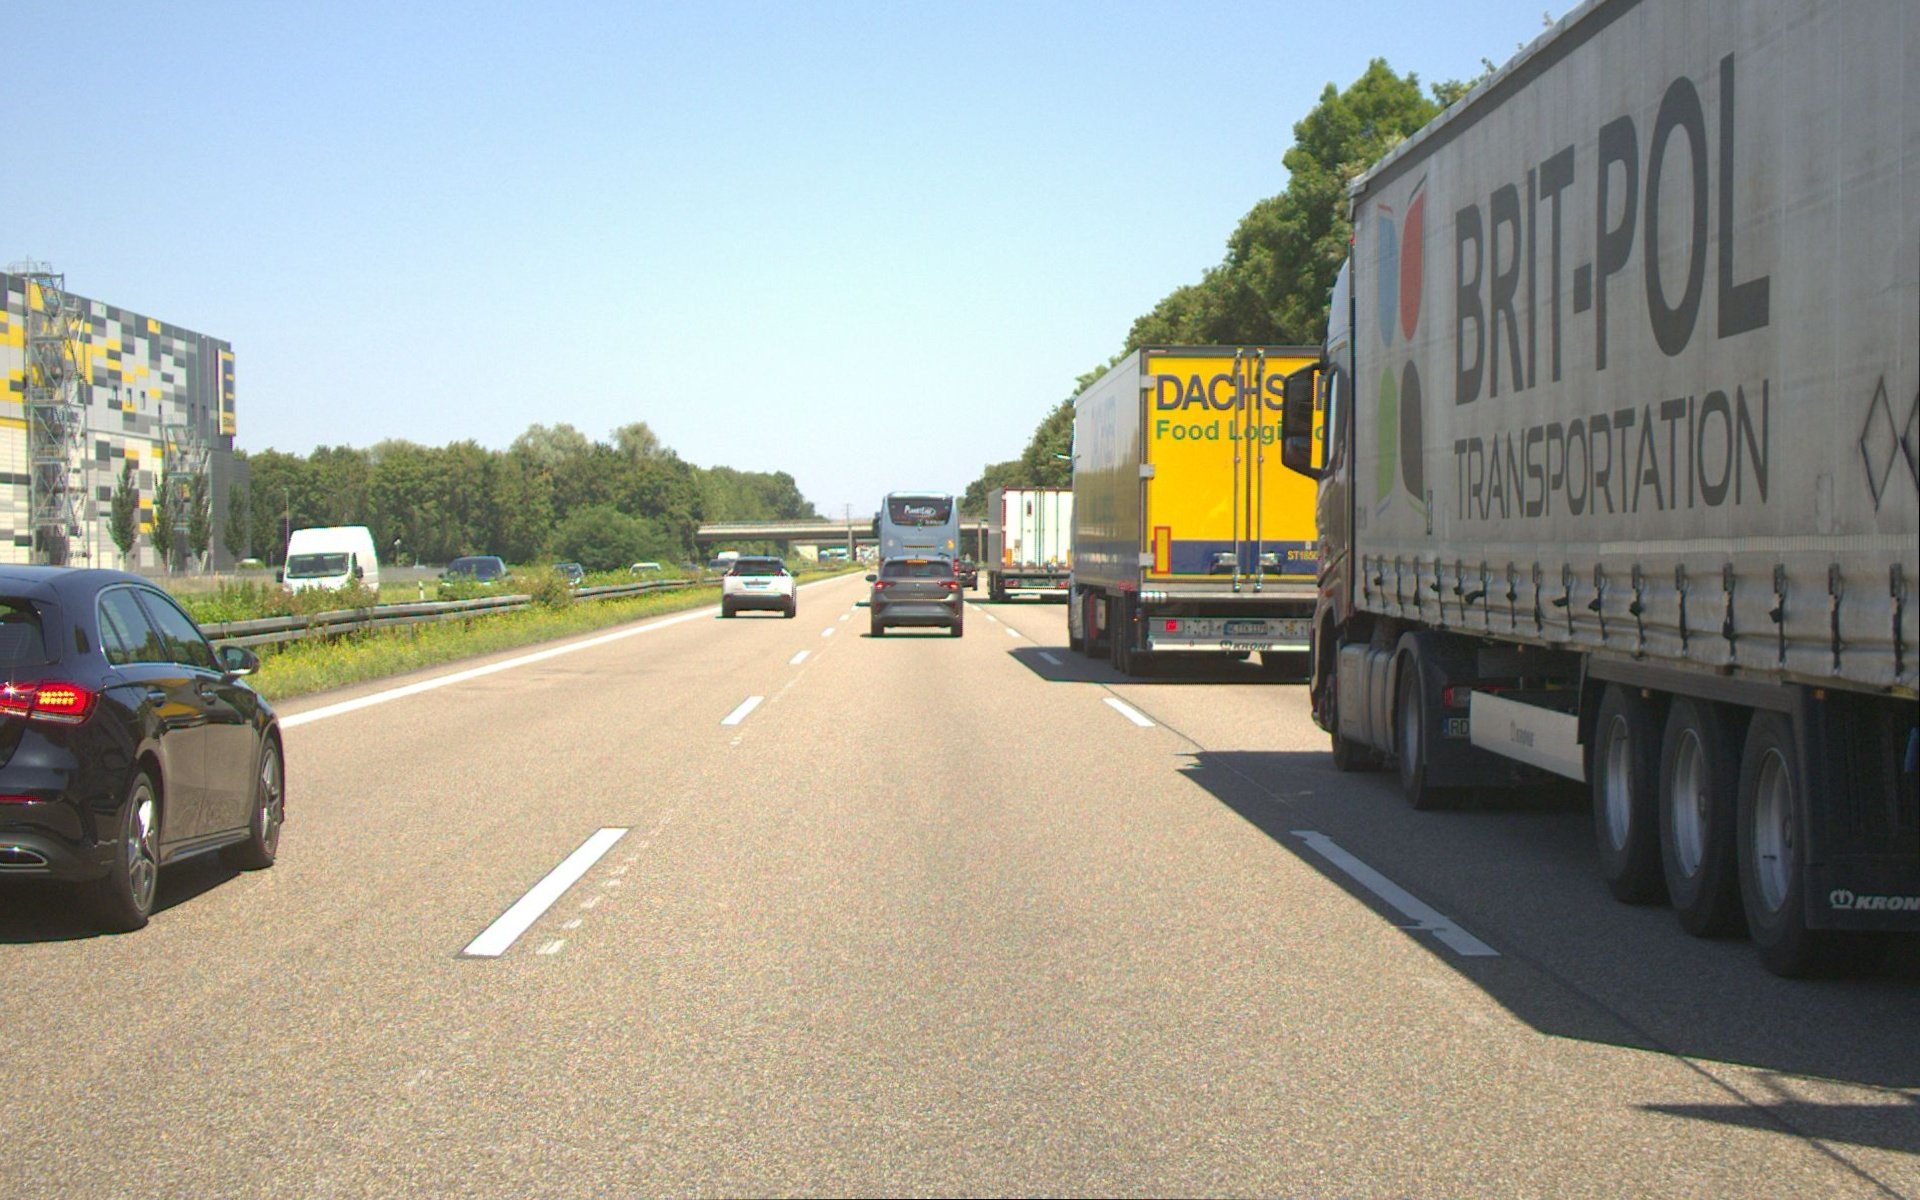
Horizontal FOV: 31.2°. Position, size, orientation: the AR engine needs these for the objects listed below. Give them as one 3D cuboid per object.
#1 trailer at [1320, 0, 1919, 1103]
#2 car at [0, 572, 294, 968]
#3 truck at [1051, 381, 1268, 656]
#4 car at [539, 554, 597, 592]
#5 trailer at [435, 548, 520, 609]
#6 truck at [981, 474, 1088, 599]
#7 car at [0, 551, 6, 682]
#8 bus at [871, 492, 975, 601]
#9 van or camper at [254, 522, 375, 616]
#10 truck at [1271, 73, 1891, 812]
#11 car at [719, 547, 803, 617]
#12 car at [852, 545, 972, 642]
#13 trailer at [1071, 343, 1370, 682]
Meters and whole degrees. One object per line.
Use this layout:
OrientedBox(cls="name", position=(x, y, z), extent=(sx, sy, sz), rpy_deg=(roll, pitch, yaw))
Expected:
OrientedBox(cls="trailer", position=(4.148, -0.900, 16.179), extent=(3.106, 4.491, 14.897), rpy_deg=(0, 1, -1))
OrientedBox(cls="car", position=(-4.069, 0.602, 14.539), extent=(1.792, 1.407, 4.053), rpy_deg=(0, 1, -1))
OrientedBox(cls="truck", position=(3.005, -1.238, 53.530), extent=(2.813, 3.993, 6.645), rpy_deg=(0, 1, -1))
OrientedBox(cls="car", position=(-20.032, -1.395, 175.893), extent=(2.316, 1.809, 5.351), rpy_deg=(-1, 1, 0))
OrientedBox(cls="trailer", position=(-14.688, -0.677, 104.861), extent=(1.993, 1.752, 4.857), rpy_deg=(-1, 1, -1))
OrientedBox(cls="truck", position=(2.521, -2.185, 119.807), extent=(3.422, 4.112, 9.564), rpy_deg=(-1, 1, 0))
OrientedBox(cls="car", position=(-14.065, 0.276, 44.626), extent=(2.028, 1.772, 4.842), rpy_deg=(-1, 1, -1))
OrientedBox(cls="bus", position=(-1.246, -1.726, 111.035), extent=(3.062, 3.315, 8.275), rpy_deg=(-1, 1, -2))
OrientedBox(cls="van or camper", position=(-18.604, -0.883, 99.397), extent=(2.421, 2.525, 6.177), rpy_deg=(-2, 0, -2))
OrientedBox(cls="truck", position=(4.020, -0.969, 23.763), extent=(3.087, 4.425, 6.053), rpy_deg=(1, 0, -1))
OrientedBox(cls="car", position=(-4.984, -0.479, 86.602), extent=(1.993, 1.722, 4.131), rpy_deg=(0, 1, -2))
OrientedBox(cls="car", position=(-0.947, -0.160, 66.994), extent=(2.216, 1.784, 5.393), rpy_deg=(-1, 1, -1))
OrientedBox(cls="trailer", position=(3.217, -1.113, 45.794), extent=(2.834, 3.940, 11.685), rpy_deg=(0, 1, -1))
